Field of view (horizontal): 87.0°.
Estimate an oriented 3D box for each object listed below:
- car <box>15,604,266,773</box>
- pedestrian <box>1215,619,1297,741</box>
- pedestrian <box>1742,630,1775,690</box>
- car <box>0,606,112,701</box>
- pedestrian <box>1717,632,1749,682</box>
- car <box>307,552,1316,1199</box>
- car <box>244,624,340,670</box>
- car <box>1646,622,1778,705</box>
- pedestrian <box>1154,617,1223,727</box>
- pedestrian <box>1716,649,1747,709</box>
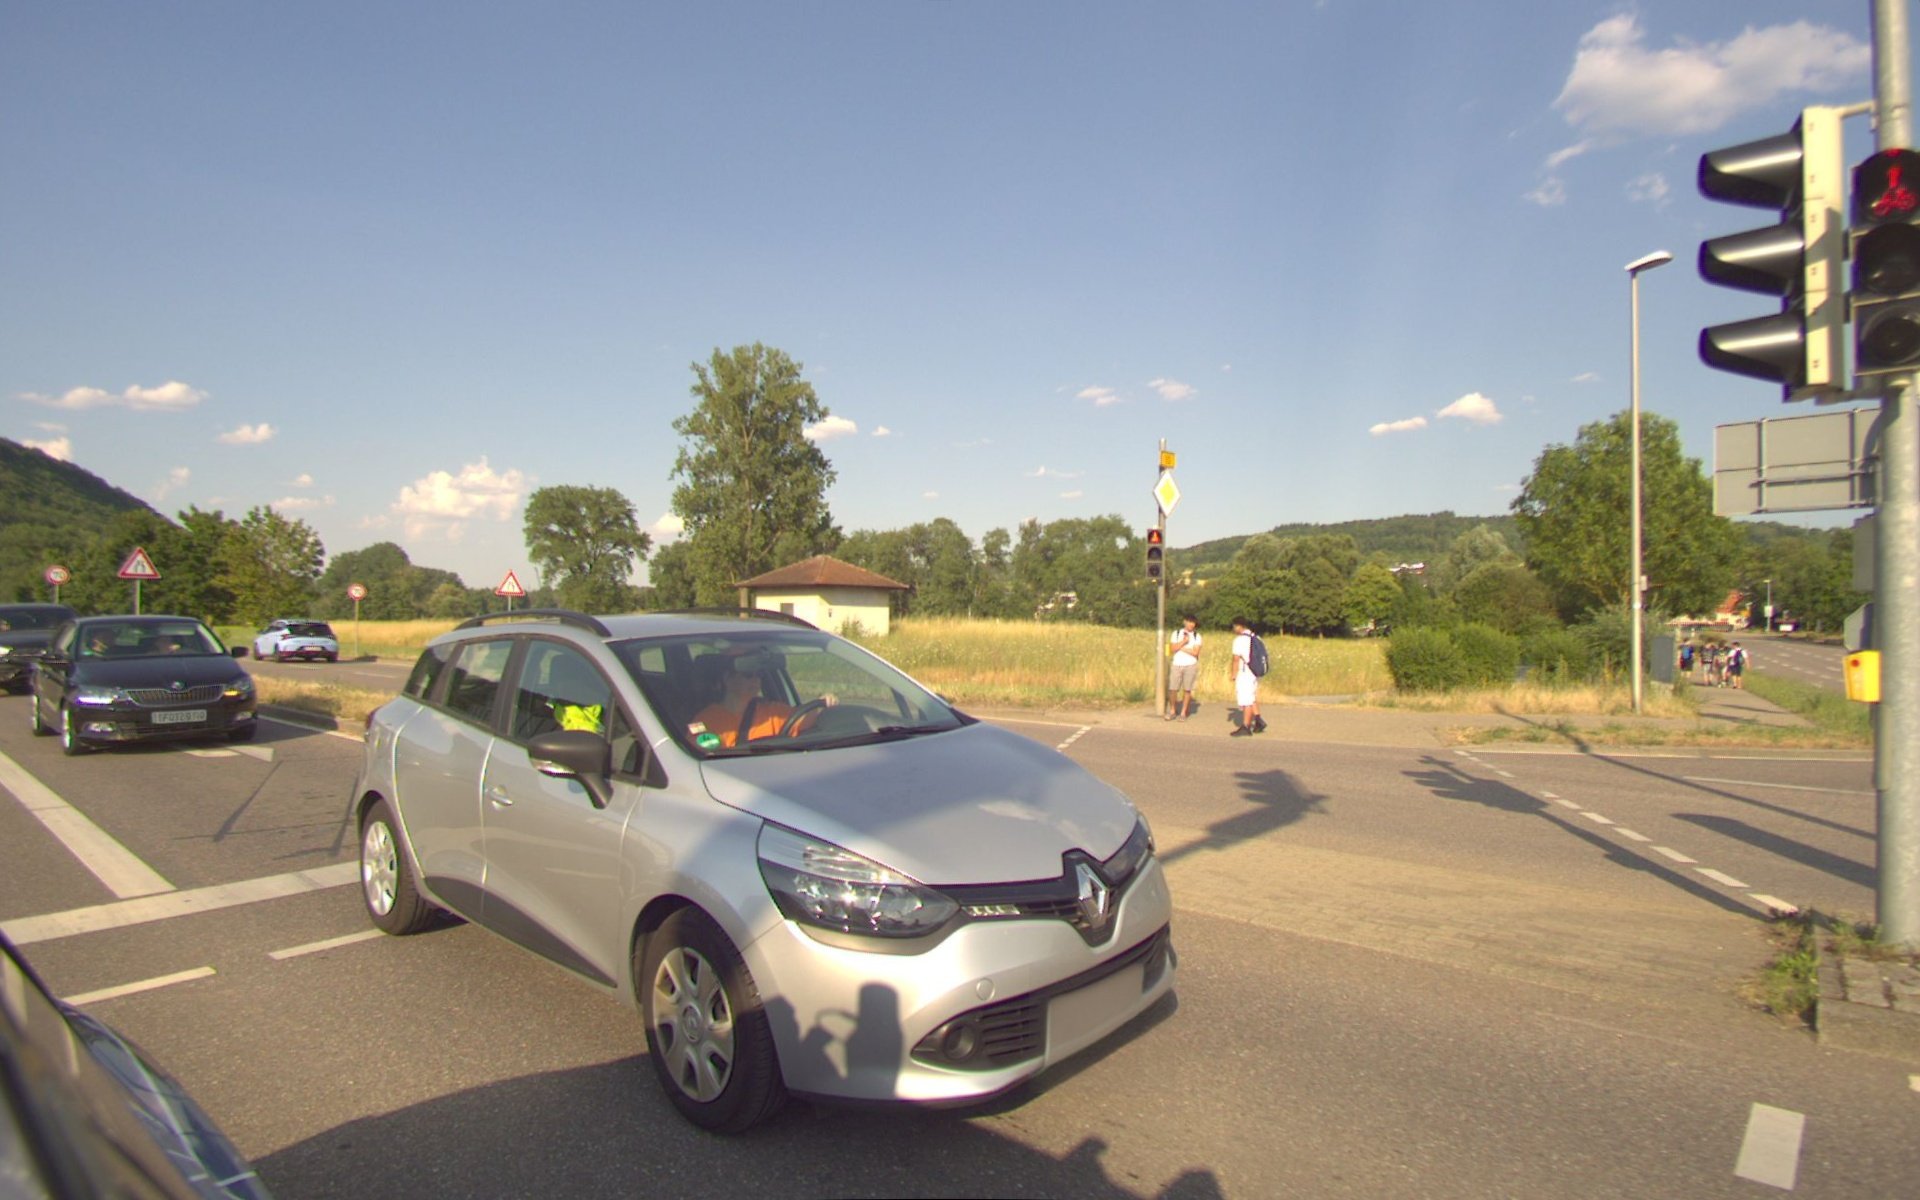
[{"bbox_3d":[-9.478,0.860,11.591,3.998,1.586,1.596,-1,0,41],"label":"car"},{"bbox_3d":[4.156,1.096,14.230,0.646,1.618,0.892,-1,0,-29],"label":"pedestrian"},{"bbox_3d":[27.820,2.073,35.261,0.720,2.029,0.690,-1,0,25],"label":"pedestrian"},{"bbox_3d":[-17.503,0.935,18.993,4.143,1.586,1.834,-1,0,41],"label":"car"},{"bbox_3d":[28.028,2.054,36.706,0.717,1.771,0.692,-1,0,16],"label":"pedestrian"},{"bbox_3d":[-0.963,0.685,4.087,4.187,1.488,1.739,-1,-1,41],"label":"car"},{"bbox_3d":[-22.959,1.601,34.744,4.143,1.445,1.690,-1,-3,41],"label":"car"},{"bbox_3d":[16.241,1.283,21.808,1.769,1.519,3.667,-1,0,45],"label":"car"},{"bbox_3d":[3.537,1.089,15.699,0.646,1.618,0.839,-1,0,-29],"label":"pedestrian"},{"bbox_3d":[27.059,2.758,35.505,0.720,2.029,0.690,-1,0,25],"label":"pedestrian"}]
